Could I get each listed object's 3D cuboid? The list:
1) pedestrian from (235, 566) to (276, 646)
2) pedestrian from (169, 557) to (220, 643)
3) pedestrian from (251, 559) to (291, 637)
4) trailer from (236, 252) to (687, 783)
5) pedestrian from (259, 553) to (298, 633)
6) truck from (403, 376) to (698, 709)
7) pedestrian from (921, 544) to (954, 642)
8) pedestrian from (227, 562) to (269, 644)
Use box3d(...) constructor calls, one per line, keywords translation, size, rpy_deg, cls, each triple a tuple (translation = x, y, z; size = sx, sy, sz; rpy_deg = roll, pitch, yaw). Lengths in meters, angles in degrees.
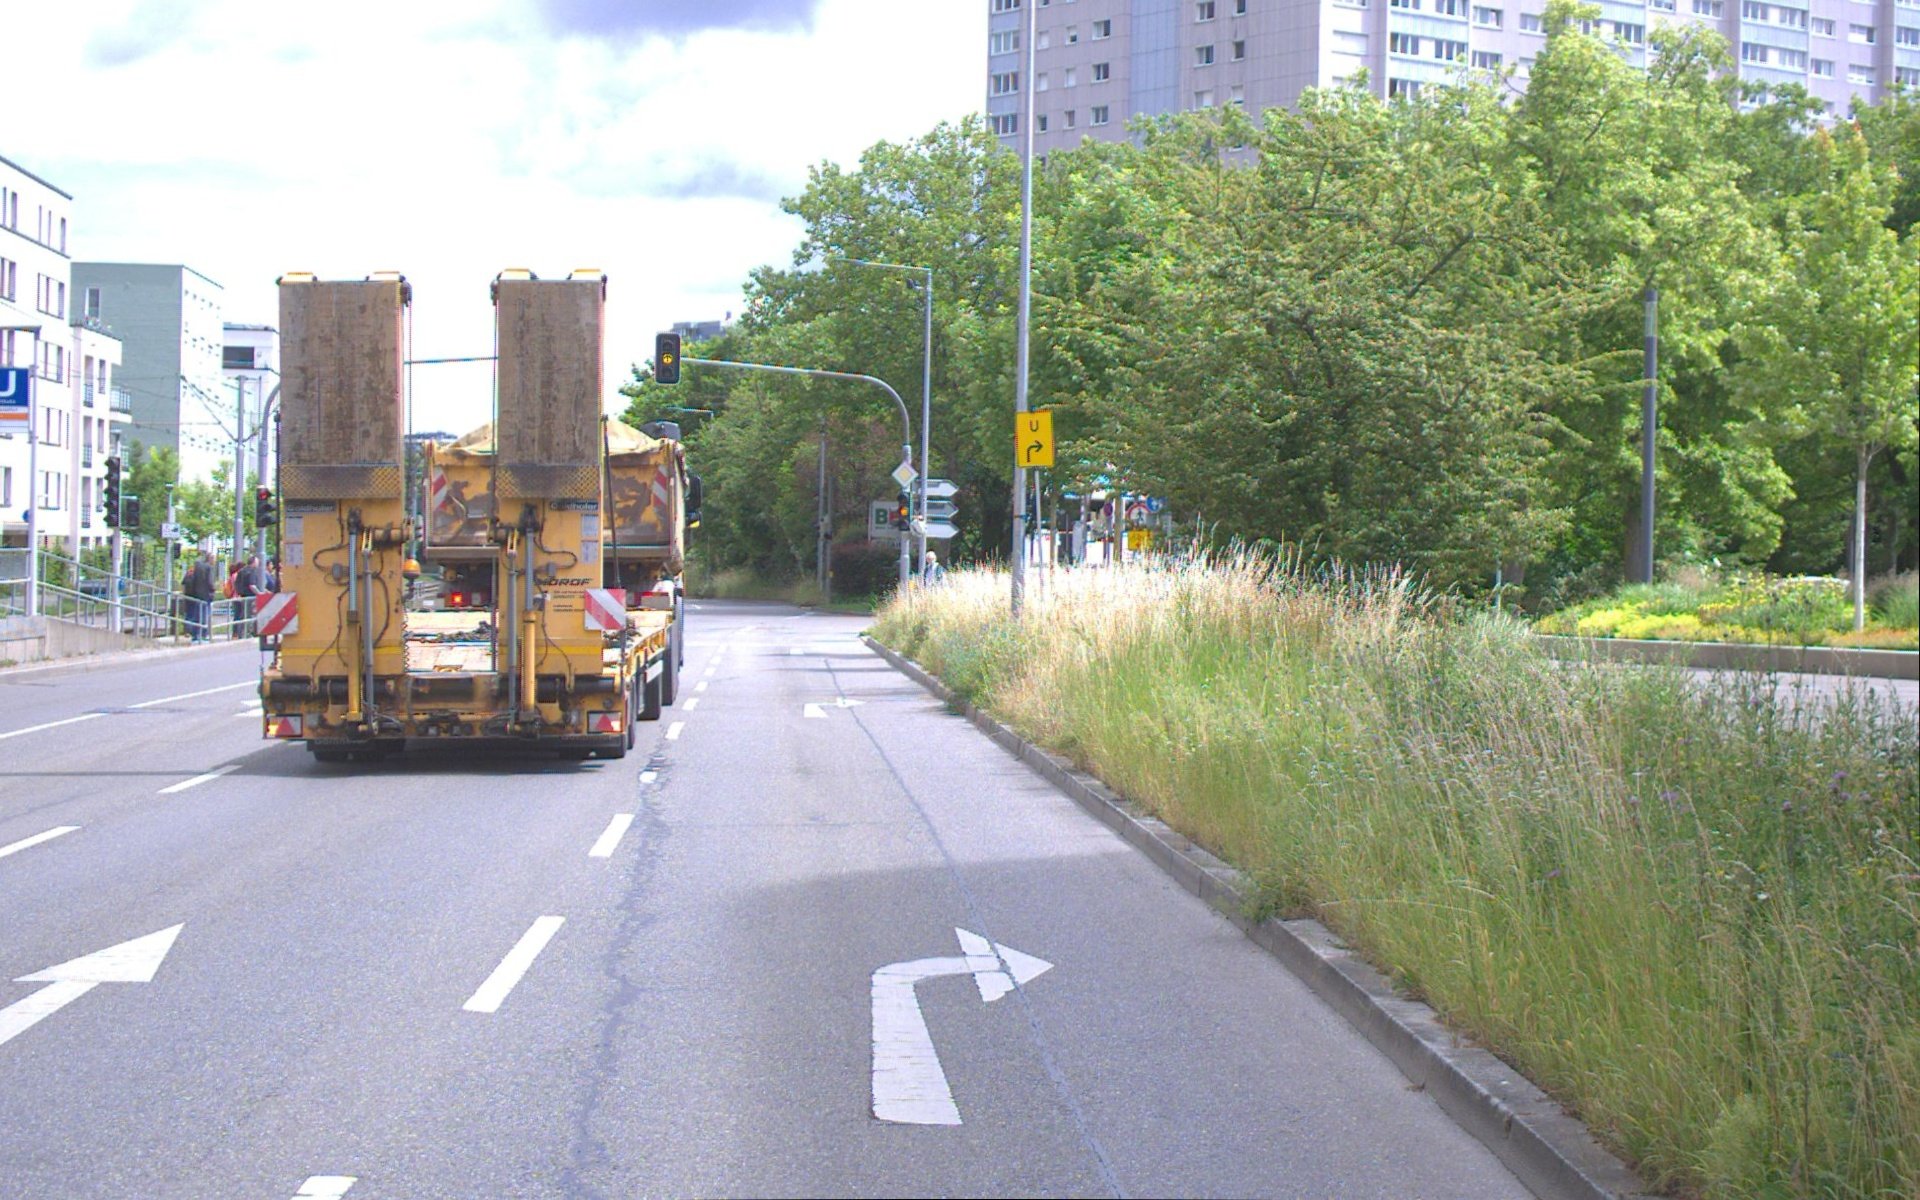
box3d(translation=(-14.209, 0.118, 69.360), size=(0.681, 1.597, 0.823), rpy_deg=(1, 0, -4), cls="pedestrian")
box3d(translation=(-14.982, 0.002, 67.296), size=(0.820, 1.663, 0.683), rpy_deg=(1, 0, -2), cls="pedestrian")
box3d(translation=(-14.244, -0.049, 71.054), size=(0.681, 1.597, 0.823), rpy_deg=(1, 0, -4), cls="pedestrian")
box3d(translation=(-3.827, -0.612, 28.956), size=(2.729, 3.546, 11.255), rpy_deg=(1, 1, -3), cls="trailer")
box3d(translation=(-14.296, -0.153, 72.125), size=(0.681, 1.664, 0.823), rpy_deg=(1, 0, -4), cls="pedestrian")
box3d(translation=(-4.435, -0.618, 38.759), size=(2.753, 3.302, 8.353), rpy_deg=(1, 1, -3), cls="truck")
box3d(translation=(-0.459, -0.137, 71.119), size=(0.561, 2.007, 0.492), rpy_deg=(1, 0, -12), cls="pedestrian")
box3d(translation=(-14.186, 0.055, 68.528), size=(0.681, 1.597, 0.823), rpy_deg=(1, 0, -4), cls="pedestrian")
